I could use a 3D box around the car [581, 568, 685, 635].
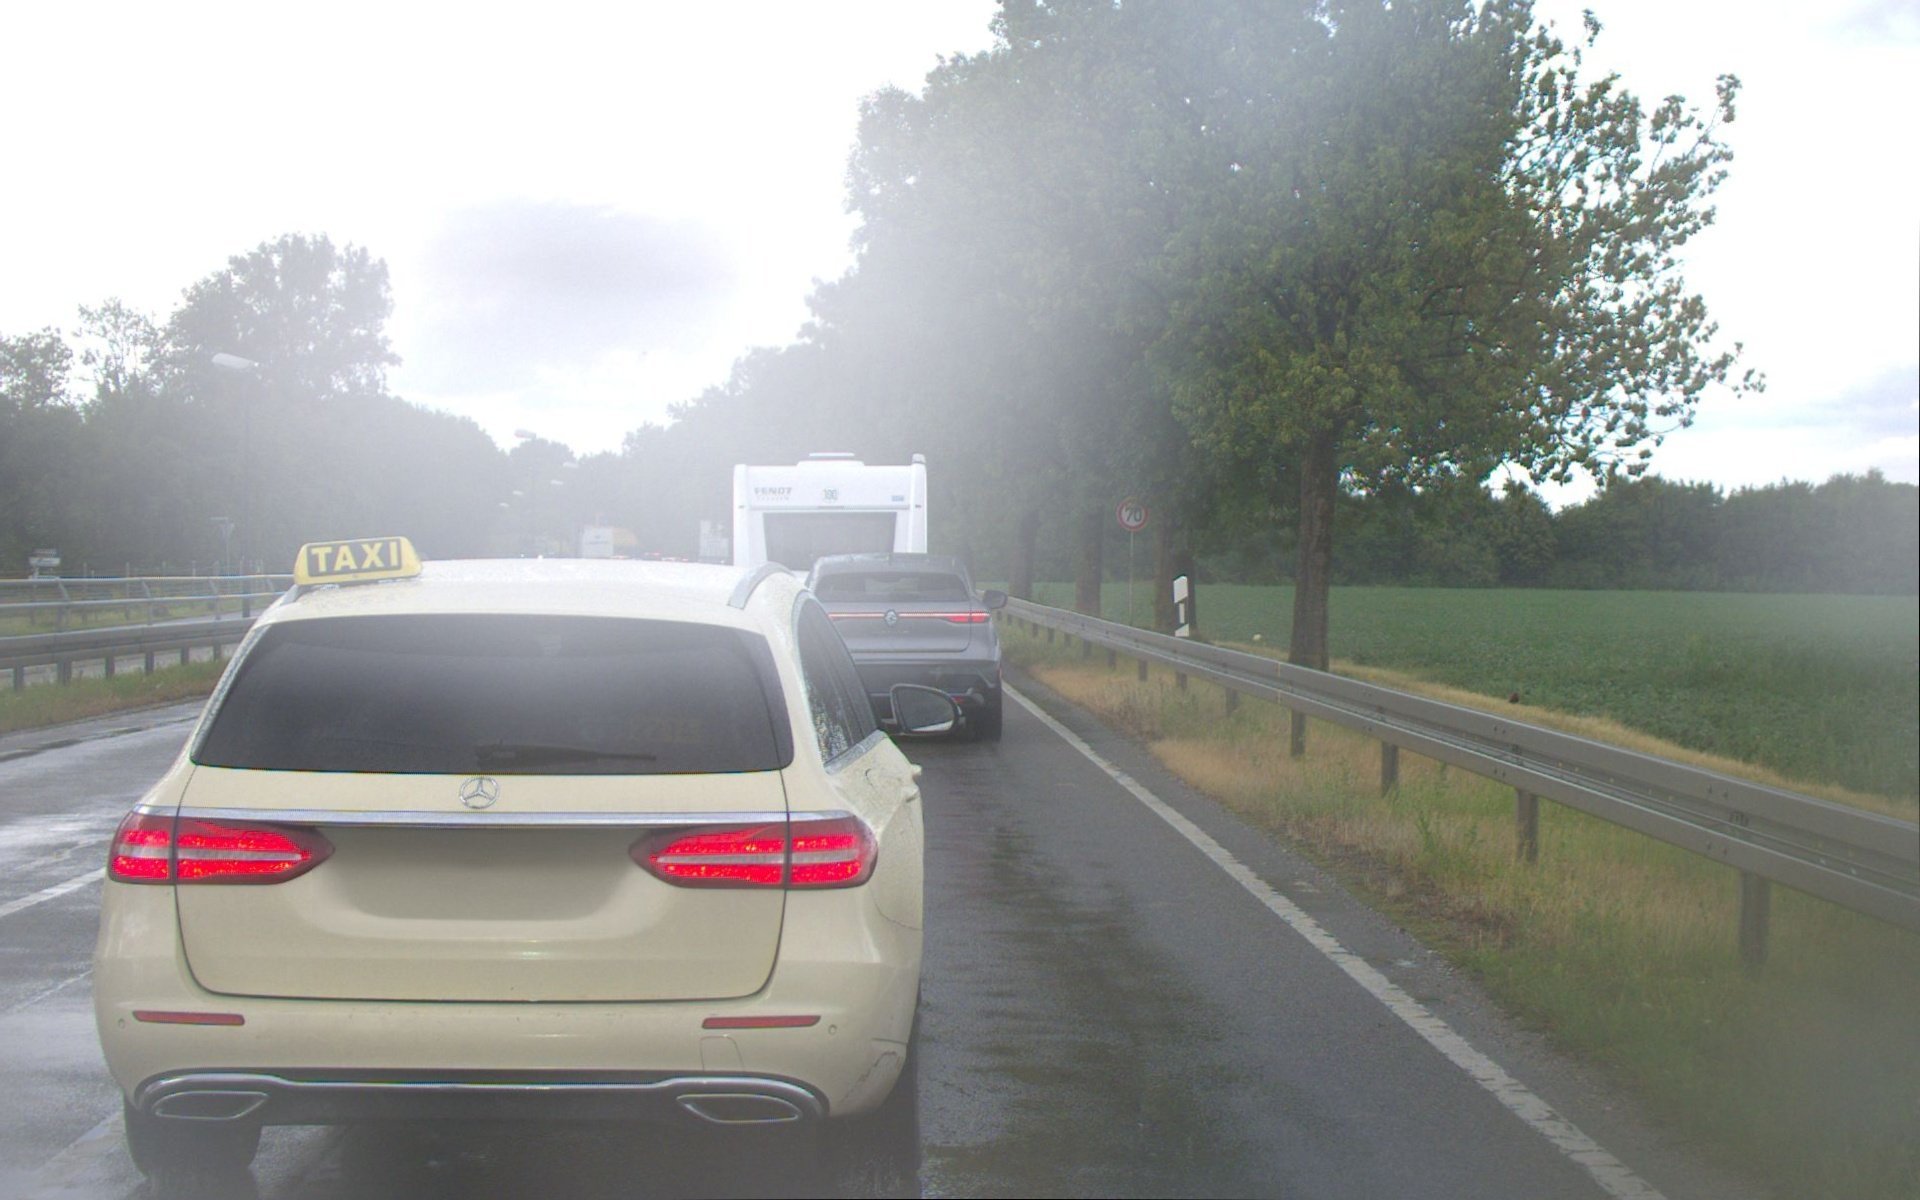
[{"bbox_3d":[-6.537,0.012,69.011,1.758,1.265,4.000,1,1,-1],"label":"car"}]

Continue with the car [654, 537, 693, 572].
[{"bbox_3d":[-17.401,-2.779,208.851,1.993,2.044,4.000,1,1,0],"label":"car"}]

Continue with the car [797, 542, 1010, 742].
[{"bbox_3d":[-0.464,0.293,28.419,1.627,1.524,3.933,1,1,-1],"label":"car"}]

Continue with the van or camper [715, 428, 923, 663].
[{"bbox_3d":[-1.664,-0.687,42.451,2.350,2.671,5.769,1,1,-1],"label":"van or camper"}]

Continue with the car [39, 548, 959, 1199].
[{"bbox_3d":[-0.928,0.612,8.977,1.825,1.480,4.145,0,1,0],"label":"car"}]
